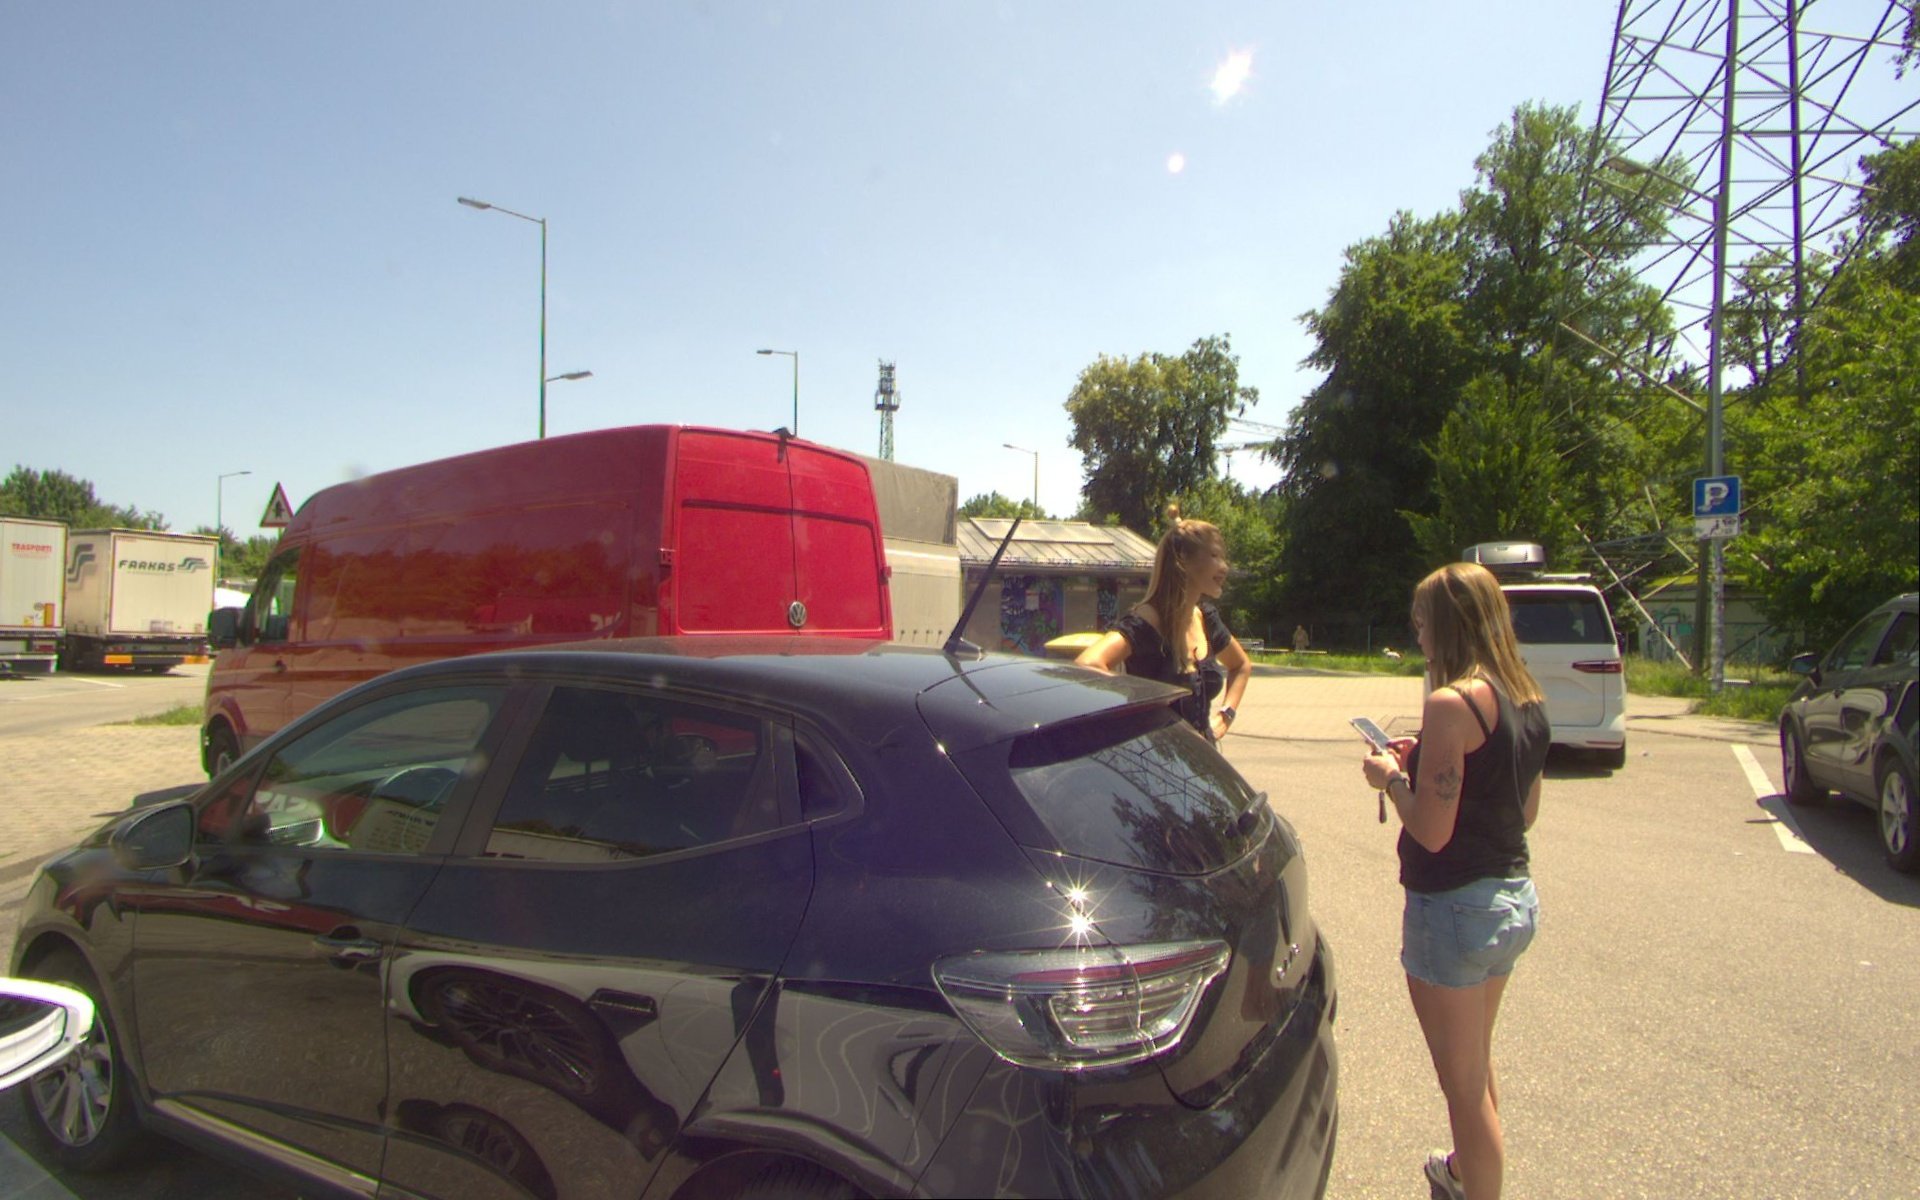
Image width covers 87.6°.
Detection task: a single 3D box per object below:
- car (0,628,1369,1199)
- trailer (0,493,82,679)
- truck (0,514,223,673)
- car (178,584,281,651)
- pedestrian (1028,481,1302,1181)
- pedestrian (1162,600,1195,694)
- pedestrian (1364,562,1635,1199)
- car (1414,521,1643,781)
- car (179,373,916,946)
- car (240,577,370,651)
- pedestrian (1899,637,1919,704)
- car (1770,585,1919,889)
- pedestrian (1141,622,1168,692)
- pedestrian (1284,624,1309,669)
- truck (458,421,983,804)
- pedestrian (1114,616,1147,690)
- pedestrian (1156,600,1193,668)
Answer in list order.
[{"bbox_3d":[-0.870,0.833,2.796,3.627,1.476,1.777,-1,-2,26],"label":"car"},{"bbox_3d":[-28.586,-0.338,27.855,12.642,4.510,2.677,0,-1,32],"label":"trailer"},{"bbox_3d":[-27.113,-0.021,31.205,11.800,4.279,2.582,-1,-2,32],"label":"truck"},{"bbox_3d":[-29.916,0.758,41.010,3.943,2.632,2.111,-1,-2,32],"label":"car"},{"bbox_3d":[0.685,0.634,3.205,0.481,1.884,0.906,0,-1,39],"label":"pedestrian"},{"bbox_3d":[4.249,0.904,19.465,0.520,1.783,0.651,0,0,23],"label":"pedestrian"},{"bbox_3d":[1.208,0.740,2.272,0.478,1.615,0.501,0,0,29],"label":"pedestrian"},{"bbox_3d":[6.666,0.532,11.872,1.901,2.401,4.954,1,-1,29],"label":"car"},{"bbox_3d":[-3.408,0.302,7.338,6.298,2.668,1.988,0,-1,36],"label":"car"},{"bbox_3d":[-29.445,0.605,44.927,6.259,3.114,2.495,0,-1,32],"label":"car"},{"bbox_3d":[17.219,1.240,17.672,0.694,1.178,0.787,-1,-1,22],"label":"pedestrian"},{"bbox_3d":[6.880,0.786,6.542,1.811,1.638,4.149,0,-1,30],"label":"car"},{"bbox_3d":[3.862,1.118,19.902,0.439,1.362,0.477,0,0,23],"label":"pedestrian"},{"bbox_3d":[15.177,2.092,45.220,0.955,2.039,0.829,0,-1,10],"label":"pedestrian"},{"bbox_3d":[-2.435,0.176,9.874,4.751,2.863,2.514,-1,-2,34],"label":"truck"},{"bbox_3d":[3.464,1.067,20.325,0.521,1.478,0.576,0,0,23],"label":"pedestrian"},{"bbox_3d":[6.022,0.957,28.160,0.762,1.903,0.840,0,-1,-11],"label":"pedestrian"}]
